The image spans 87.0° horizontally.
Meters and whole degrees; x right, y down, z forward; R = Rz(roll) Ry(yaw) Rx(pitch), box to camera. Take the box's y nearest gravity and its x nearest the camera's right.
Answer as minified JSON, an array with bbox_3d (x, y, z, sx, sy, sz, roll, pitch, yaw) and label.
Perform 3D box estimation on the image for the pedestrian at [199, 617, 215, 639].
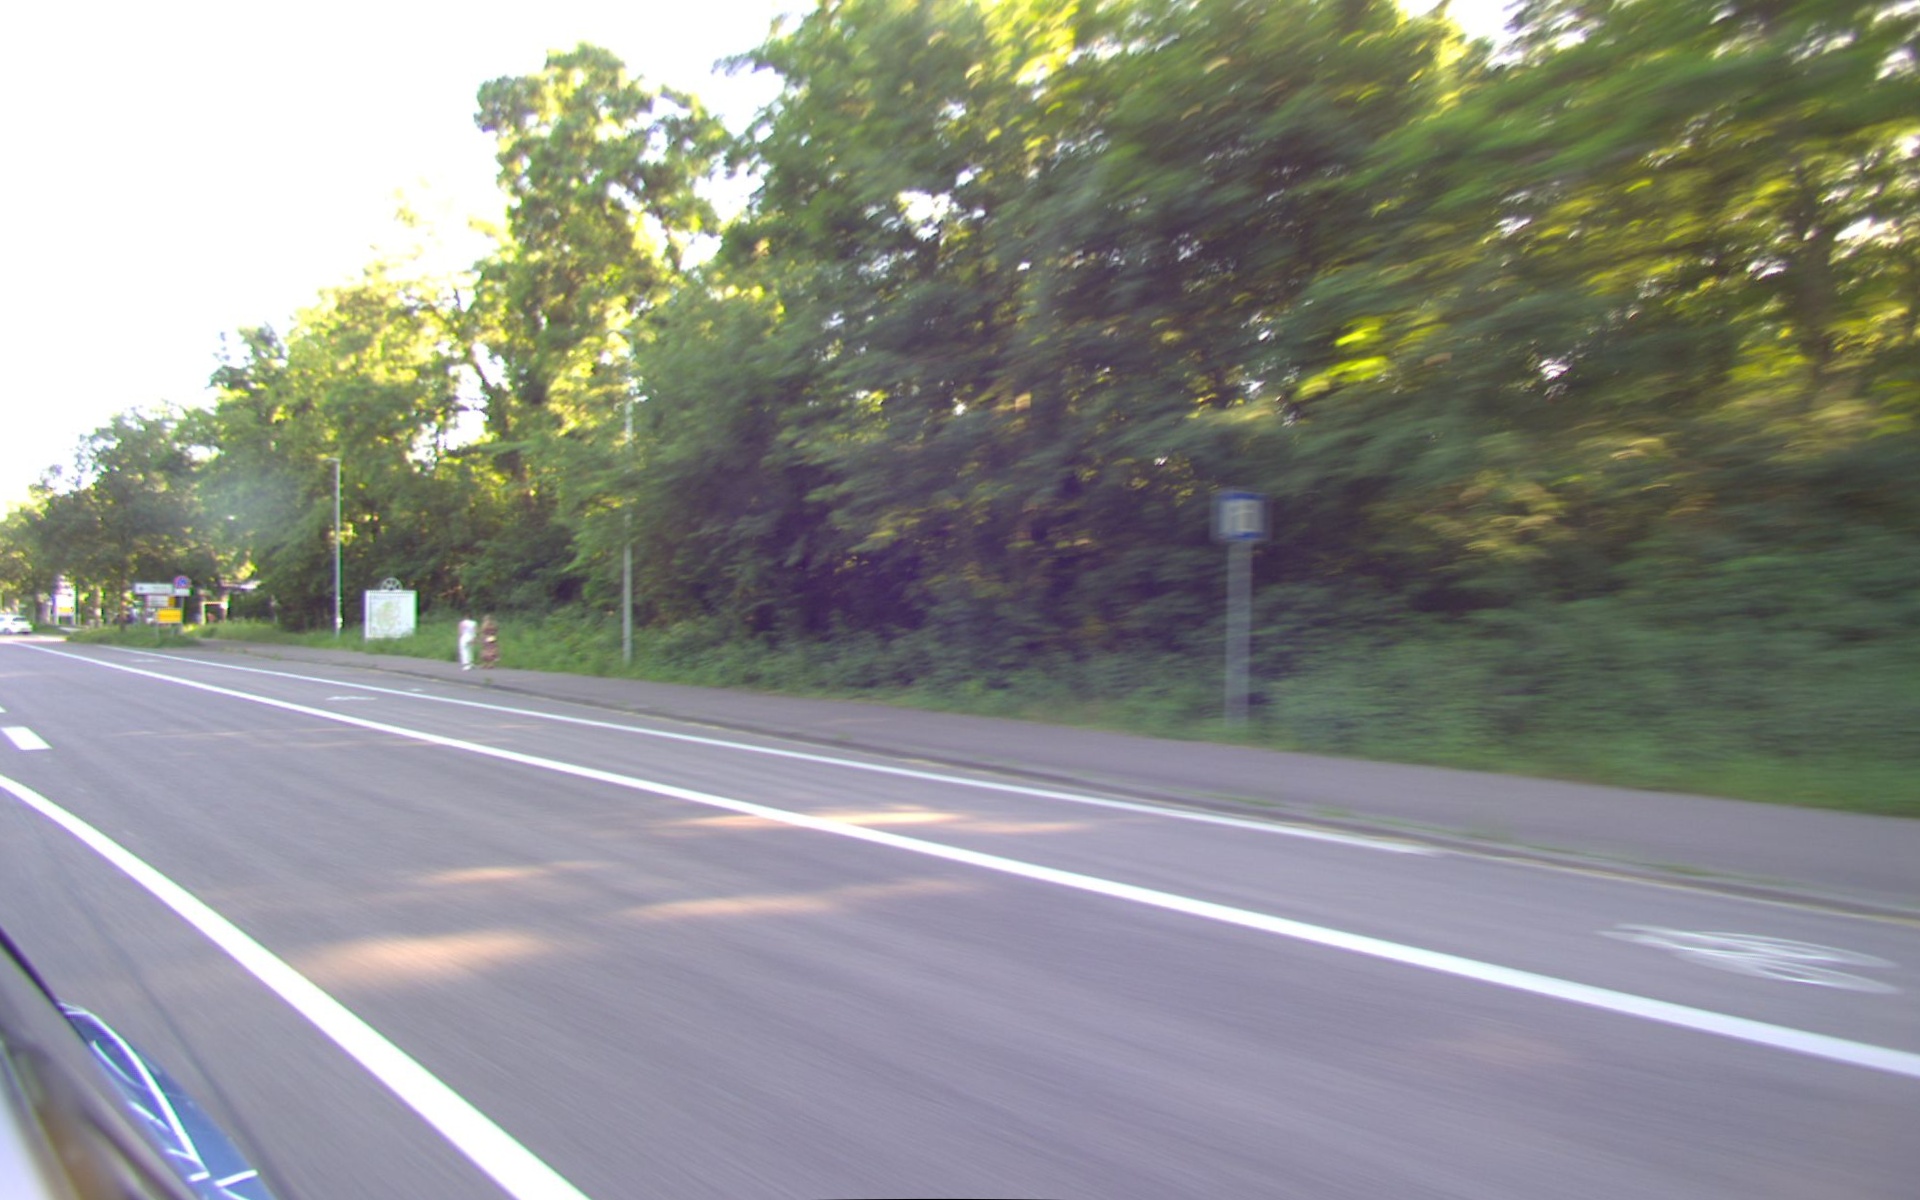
[{"bbox_3d":[-63.335,2.394,85.146,0.820,1.833,0.738,1,-2,-18],"label":"pedestrian"}]

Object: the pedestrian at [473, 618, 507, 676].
[{"bbox_3d":[-13.710,1.349,29.515,0.667,1.666,0.790,2,-2,-43],"label":"pedestrian"}]

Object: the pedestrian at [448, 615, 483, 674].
[{"bbox_3d":[-14.198,1.273,29.052,0.667,1.666,0.790,2,-2,-43],"label":"pedestrian"}]

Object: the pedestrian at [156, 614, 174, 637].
[{"bbox_3d":[-66.147,2.116,84.214,0.824,1.833,0.735,0,-2,5],"label":"pedestrian"}]

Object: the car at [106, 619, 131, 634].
[{"bbox_3d":[-94.967,2.997,114.186,3.613,1.653,1.734,-1,-2,44],"label":"car"}]

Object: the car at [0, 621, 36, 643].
[{"bbox_3d":[-71.233,2.359,74.916,3.885,1.537,1.832,0,-2,-3],"label":"car"}]
